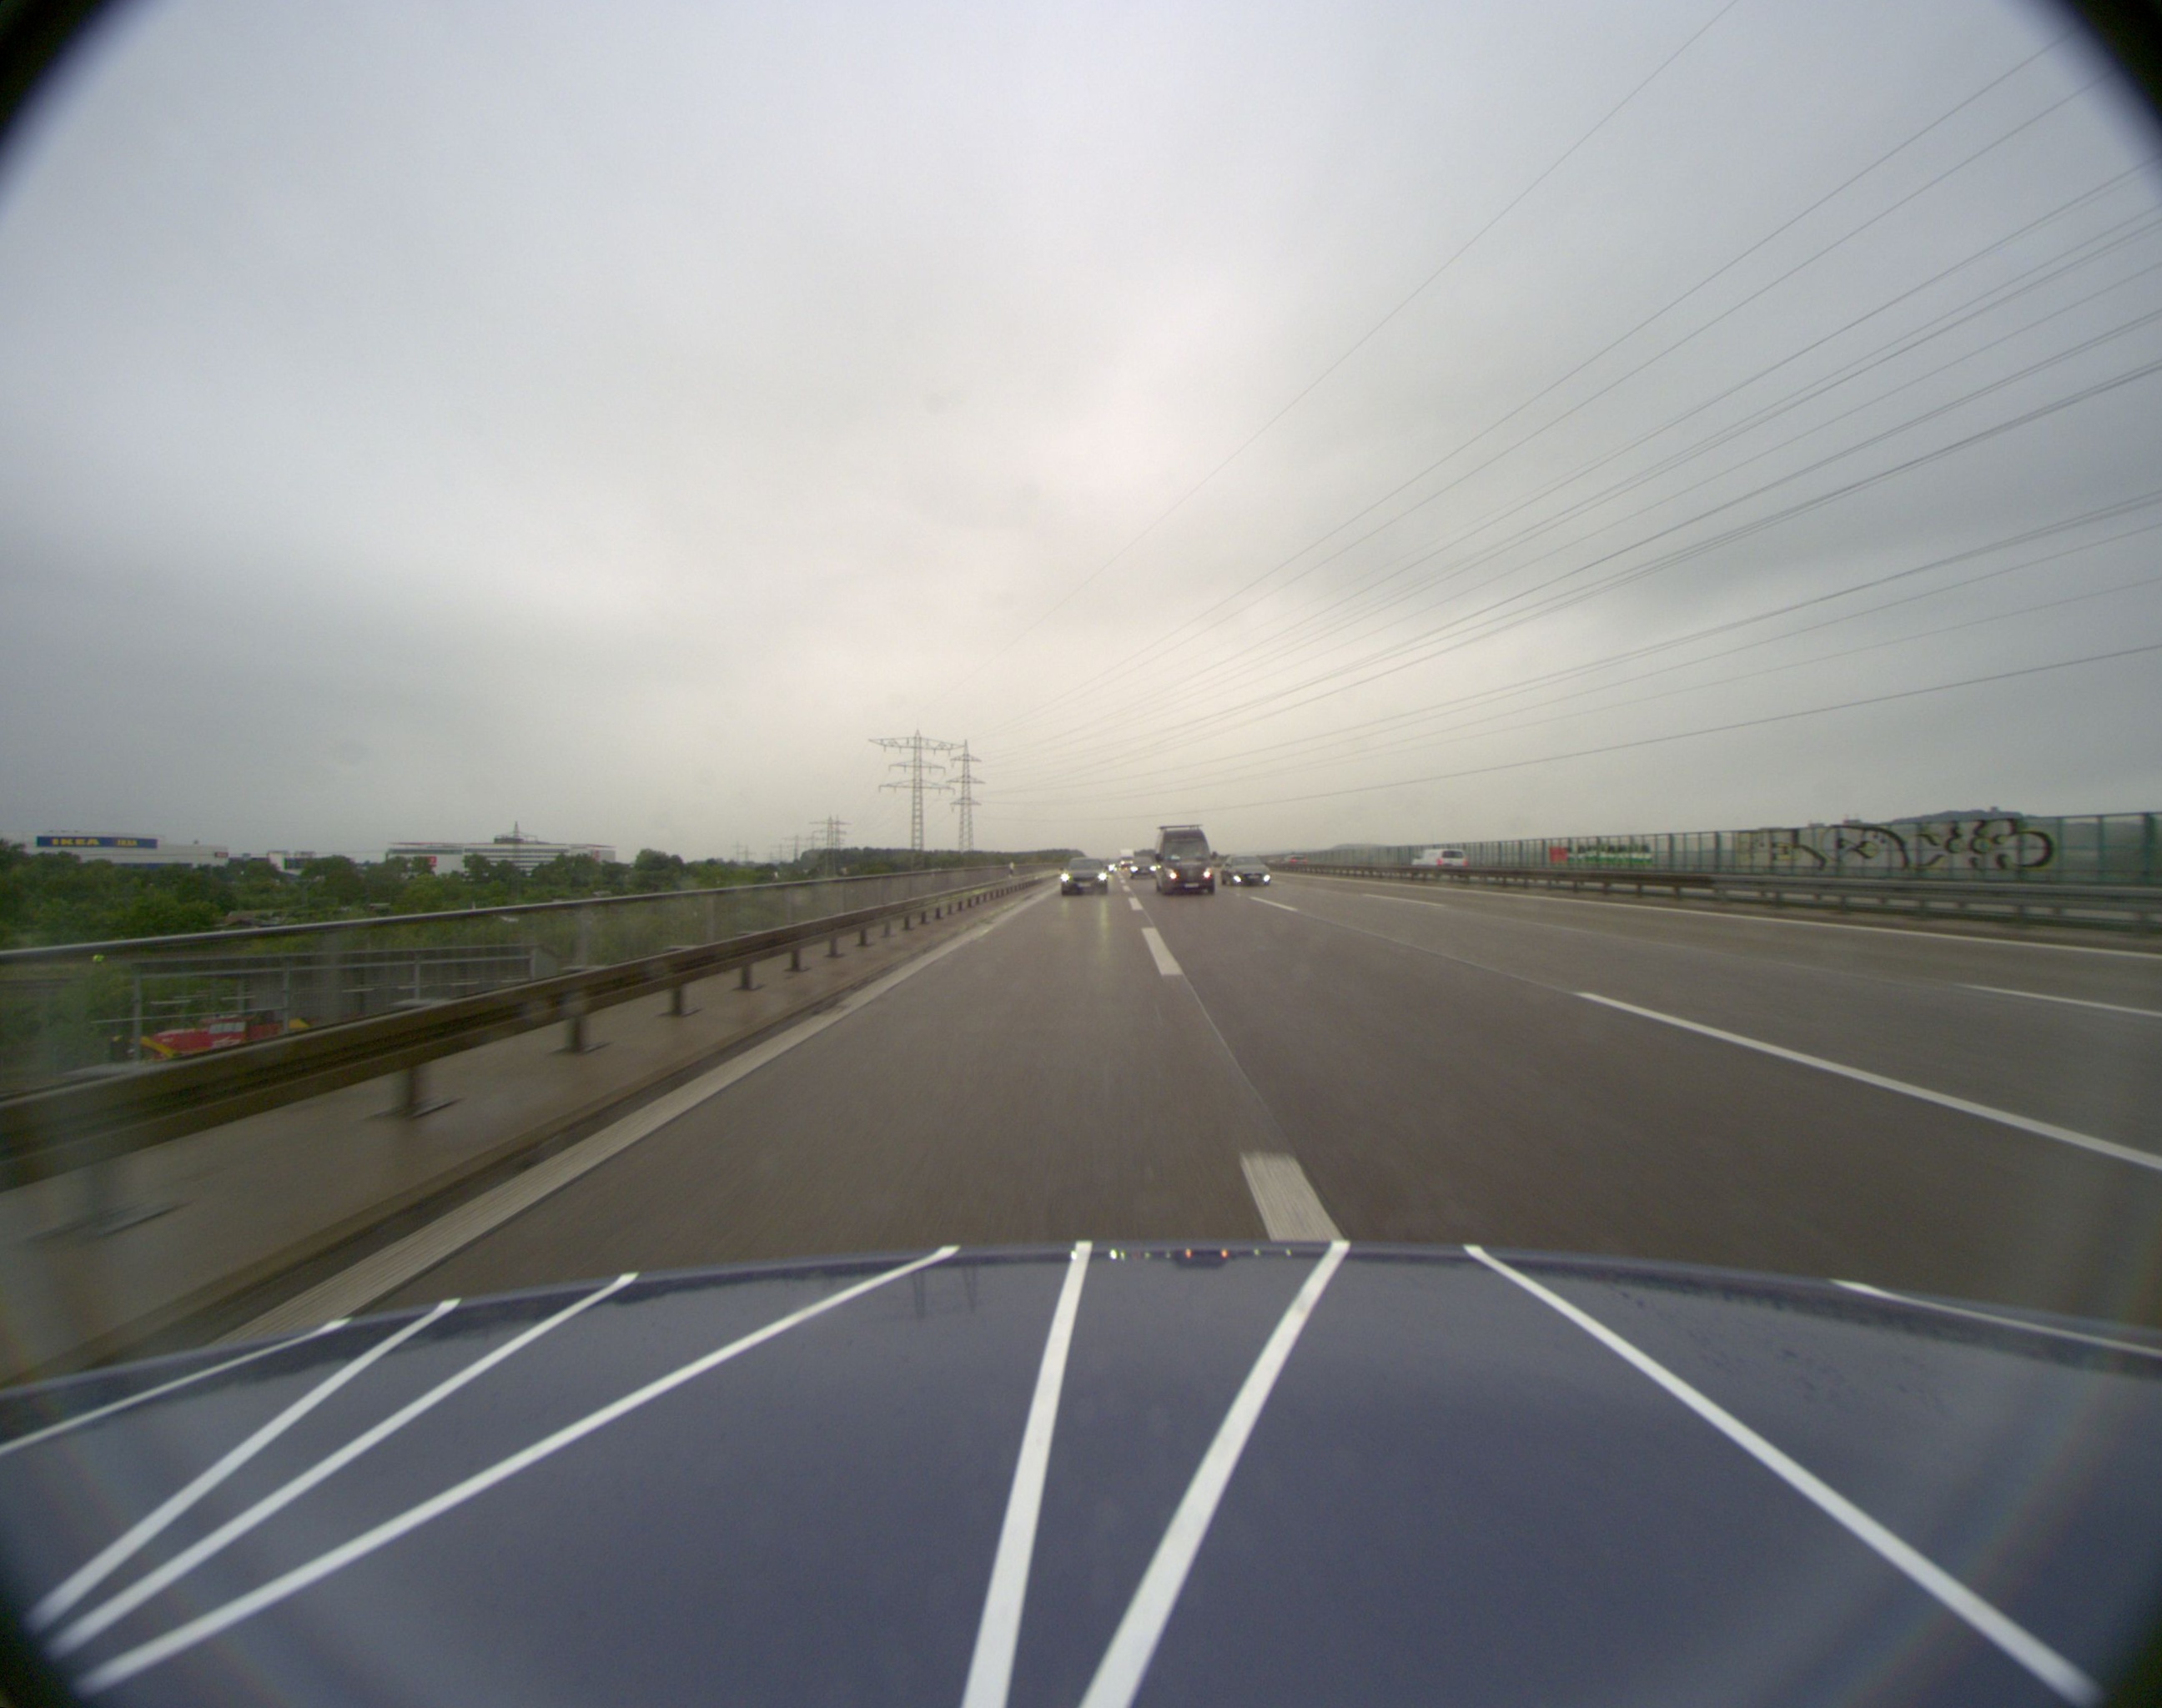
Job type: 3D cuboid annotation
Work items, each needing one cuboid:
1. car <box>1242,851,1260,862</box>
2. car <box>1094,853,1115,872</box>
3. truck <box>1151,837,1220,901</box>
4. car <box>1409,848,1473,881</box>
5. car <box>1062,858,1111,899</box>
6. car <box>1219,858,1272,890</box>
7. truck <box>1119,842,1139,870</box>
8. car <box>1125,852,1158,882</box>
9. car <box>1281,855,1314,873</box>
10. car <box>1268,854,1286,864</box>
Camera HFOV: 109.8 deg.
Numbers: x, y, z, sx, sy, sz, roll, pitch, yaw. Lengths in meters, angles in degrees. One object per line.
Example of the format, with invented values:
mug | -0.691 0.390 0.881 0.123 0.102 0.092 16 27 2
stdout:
car | 27.106 0.389 121.415 1.846 1.734 4.468 2 0 1
car | 2.260 0.807 73.742 1.998 1.706 4.000 1 0 2
truck | 4.125 0.506 31.006 1.998 2.324 6.110 -1 1 0
car | 24.271 0.666 51.470 1.998 2.002 5.011 -2 1 1
car | 0.264 0.993 32.171 1.862 1.531 4.203 -2 0 1
car | 7.815 0.946 36.510 1.729 1.394 4.831 -2 -1 4
truck | 7.626 0.357 121.267 2.703 4.171 8.926 -2 -1 1
car | 4.286 0.897 54.304 1.998 2.001 4.785 -2 0 1
car | 20.747 0.981 73.008 1.998 1.549 4.214 -2 1 1
car | 30.927 0.749 119.899 1.846 1.422 4.468 2 0 1
